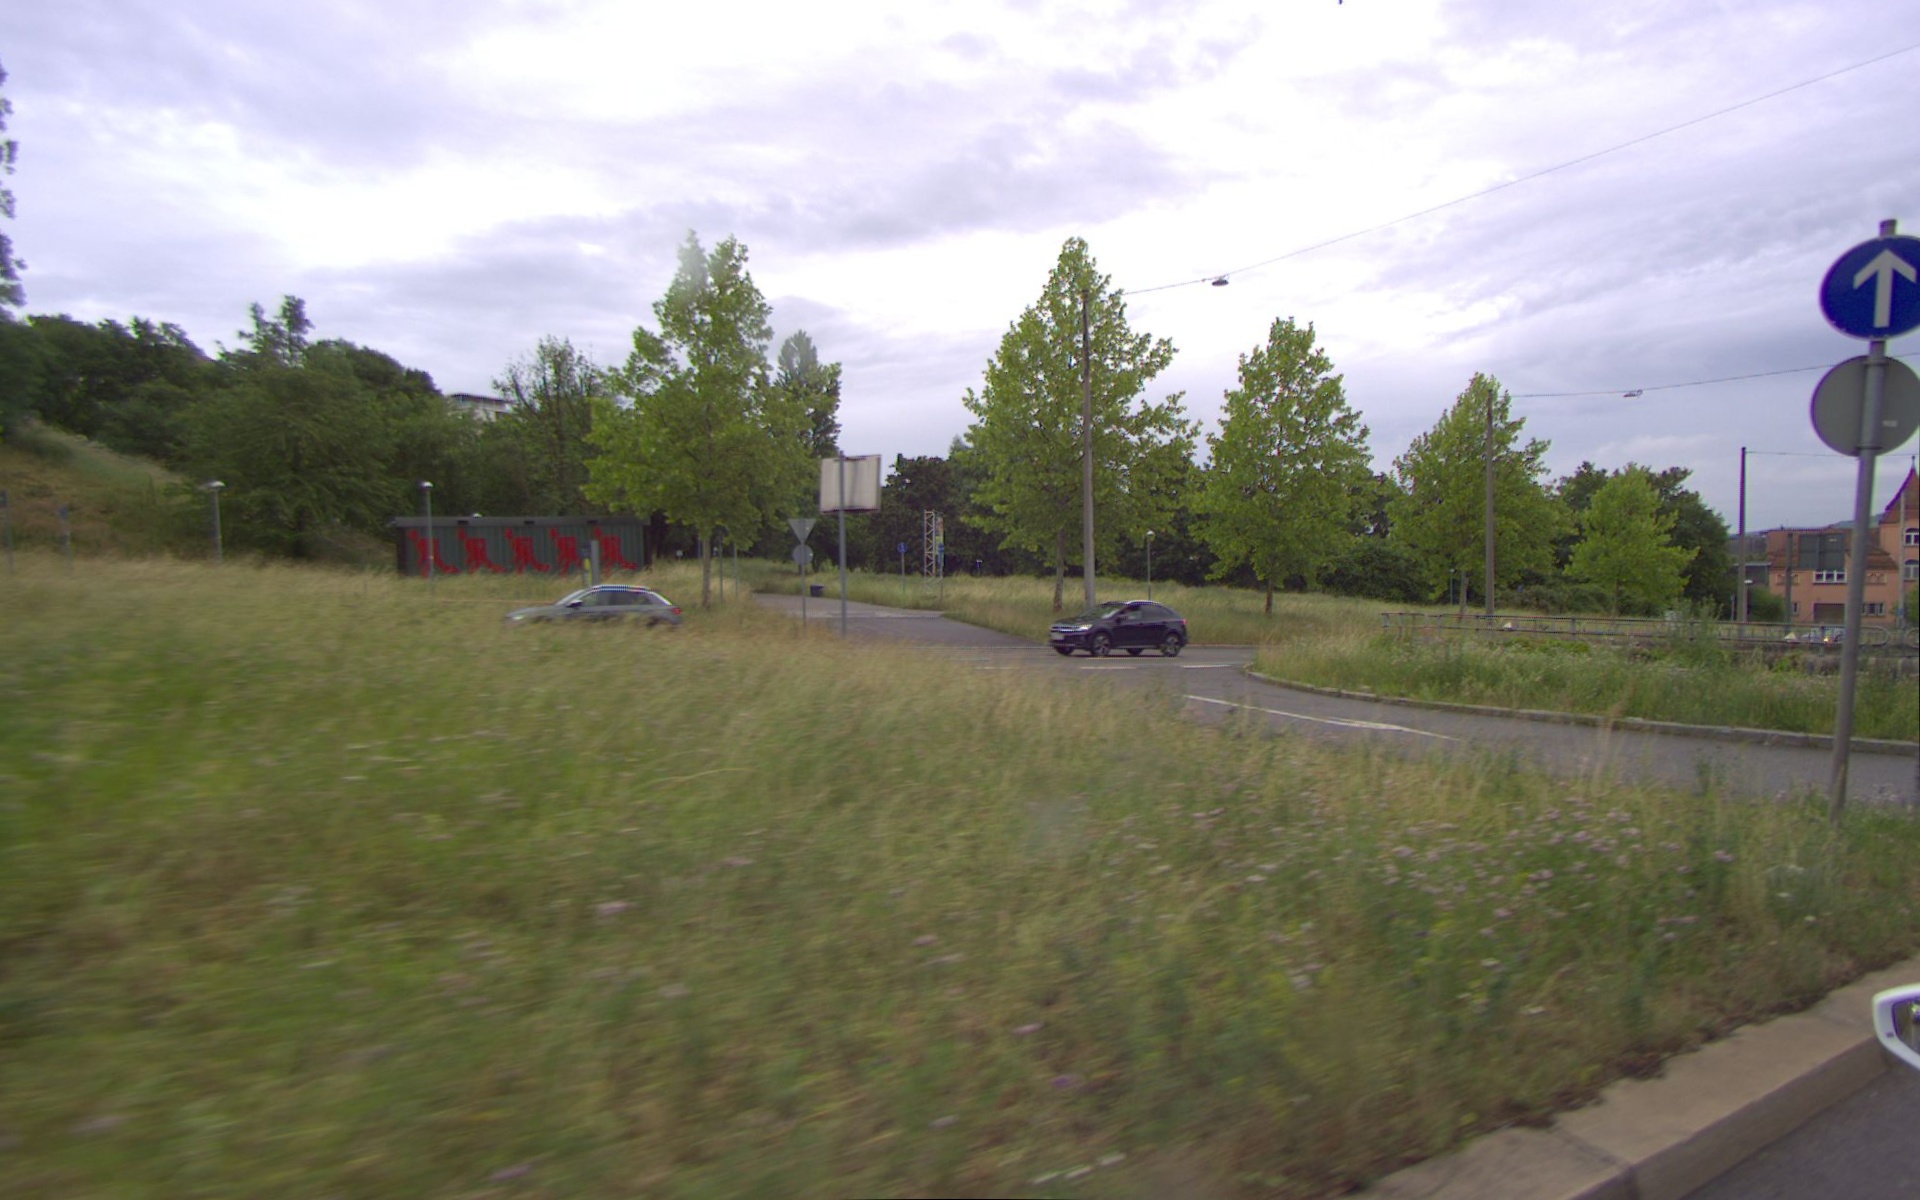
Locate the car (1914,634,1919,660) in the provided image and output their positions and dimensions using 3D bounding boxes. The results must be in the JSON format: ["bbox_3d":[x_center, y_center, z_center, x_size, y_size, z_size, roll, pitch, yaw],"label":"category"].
[{"bbox_3d":[63.386,3.095,64.529,4.307,1.666,1.881,2,3,-31],"label":"car"}]

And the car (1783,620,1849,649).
[{"bbox_3d":[52.287,2.111,61.339,3.926,1.663,1.881,1,0,-30],"label":"car"}]

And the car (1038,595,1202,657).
[{"bbox_3d":[4.408,0.699,27.498,4.384,1.548,1.648,1,2,-31],"label":"car"}]

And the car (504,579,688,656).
[{"bbox_3d":[-8.521,0.416,23.603,3.752,1.595,1.646,1,3,-34],"label":"car"}]
